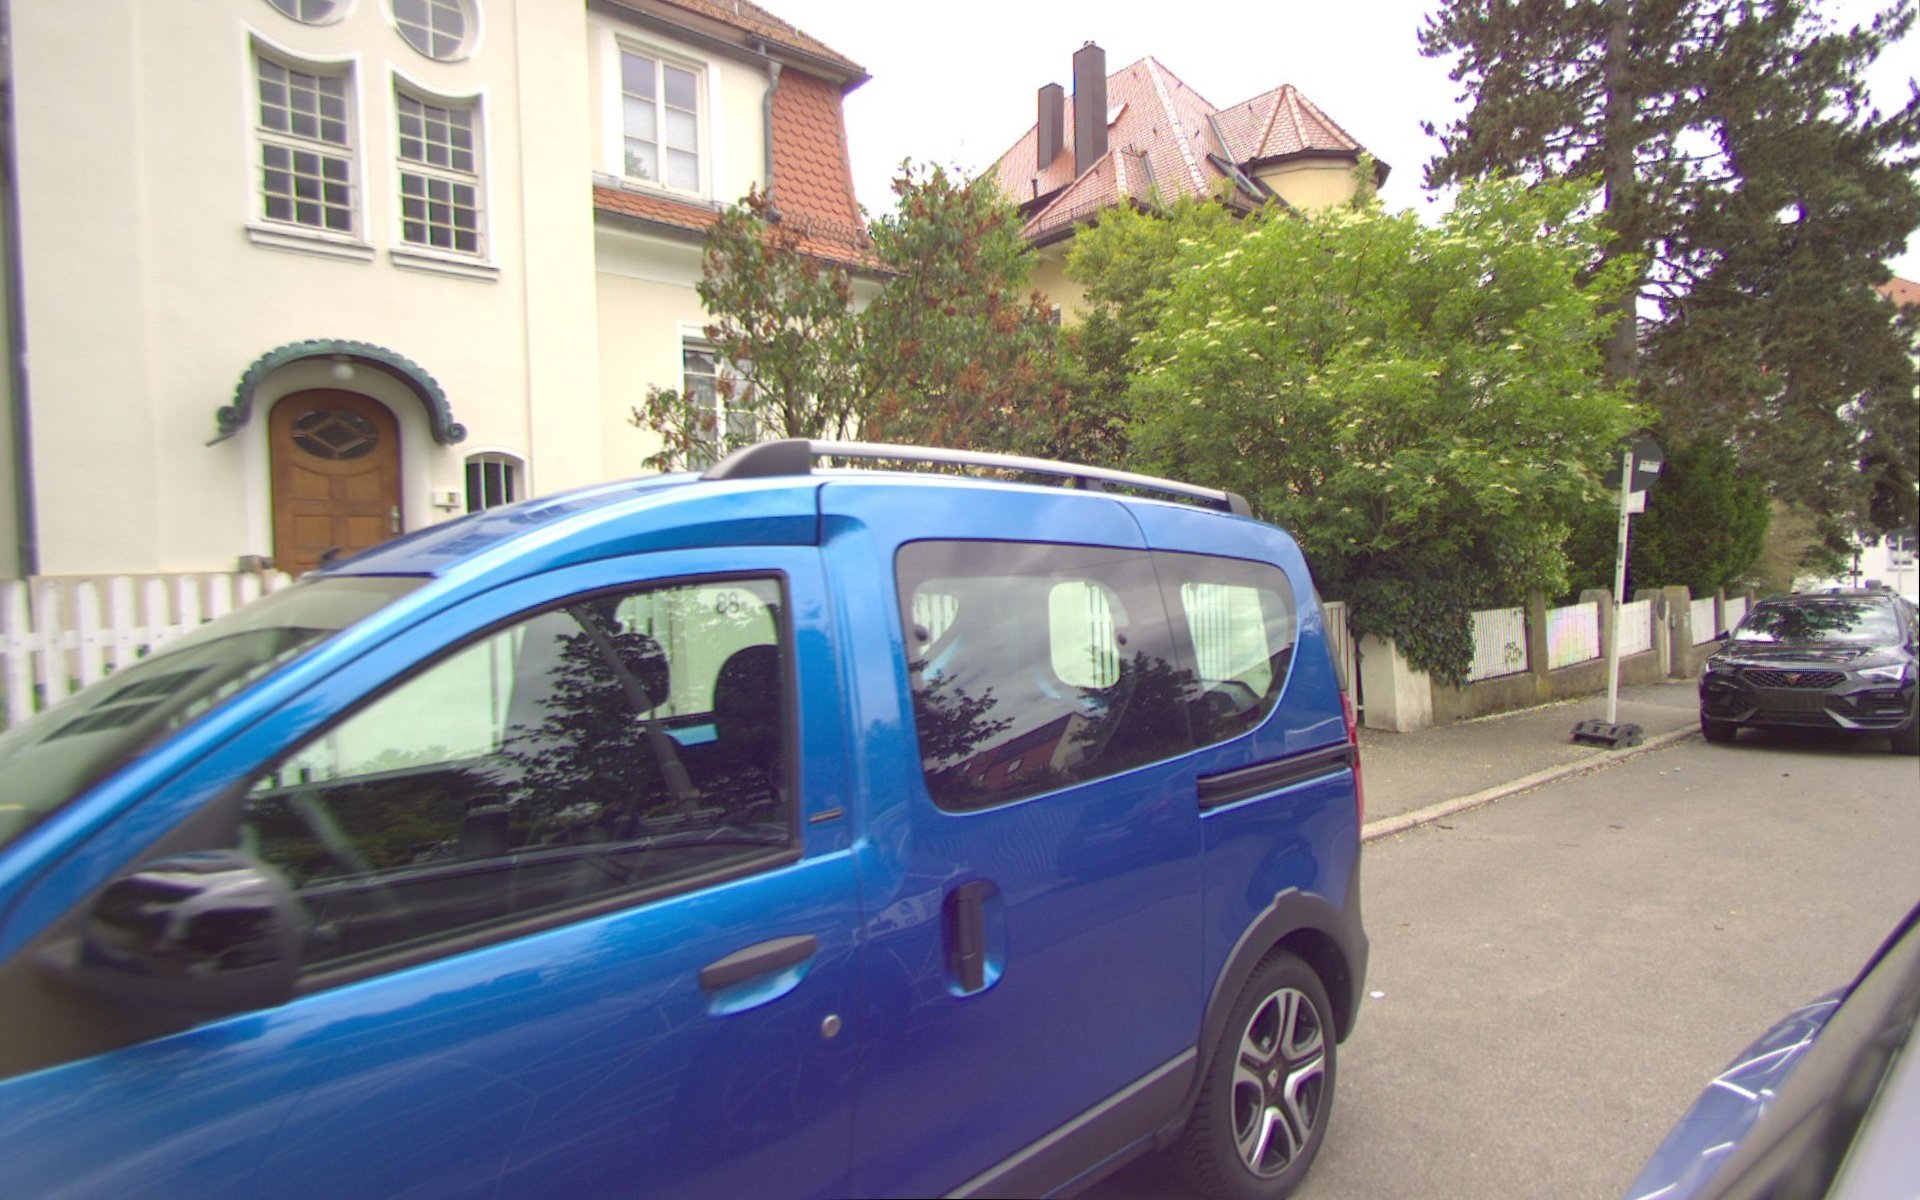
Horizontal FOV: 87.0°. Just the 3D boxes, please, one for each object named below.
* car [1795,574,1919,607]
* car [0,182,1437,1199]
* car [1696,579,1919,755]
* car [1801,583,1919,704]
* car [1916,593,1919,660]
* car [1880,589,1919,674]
[{"bbox_3d":[42.160,-0.435,47.405,1.728,1.468,4.365,-1,0,-28],"label":"car"},{"bbox_3d":[-0.715,0.550,2.225,4.084,1.853,1.684,0,-2,-42],"label":"car"},{"bbox_3d":[9.891,0.613,11.348,4.005,1.628,1.752,-1,-1,-41],"label":"car"},{"bbox_3d":[14.333,0.574,15.365,4.231,1.624,1.787,-1,-1,-42],"label":"car"},{"bbox_3d":[22.389,0.529,22.254,3.591,1.418,1.576,-1,-1,-40],"label":"car"},{"bbox_3d":[18.913,0.542,19.196,3.981,1.477,1.650,-2,0,-41],"label":"car"}]
